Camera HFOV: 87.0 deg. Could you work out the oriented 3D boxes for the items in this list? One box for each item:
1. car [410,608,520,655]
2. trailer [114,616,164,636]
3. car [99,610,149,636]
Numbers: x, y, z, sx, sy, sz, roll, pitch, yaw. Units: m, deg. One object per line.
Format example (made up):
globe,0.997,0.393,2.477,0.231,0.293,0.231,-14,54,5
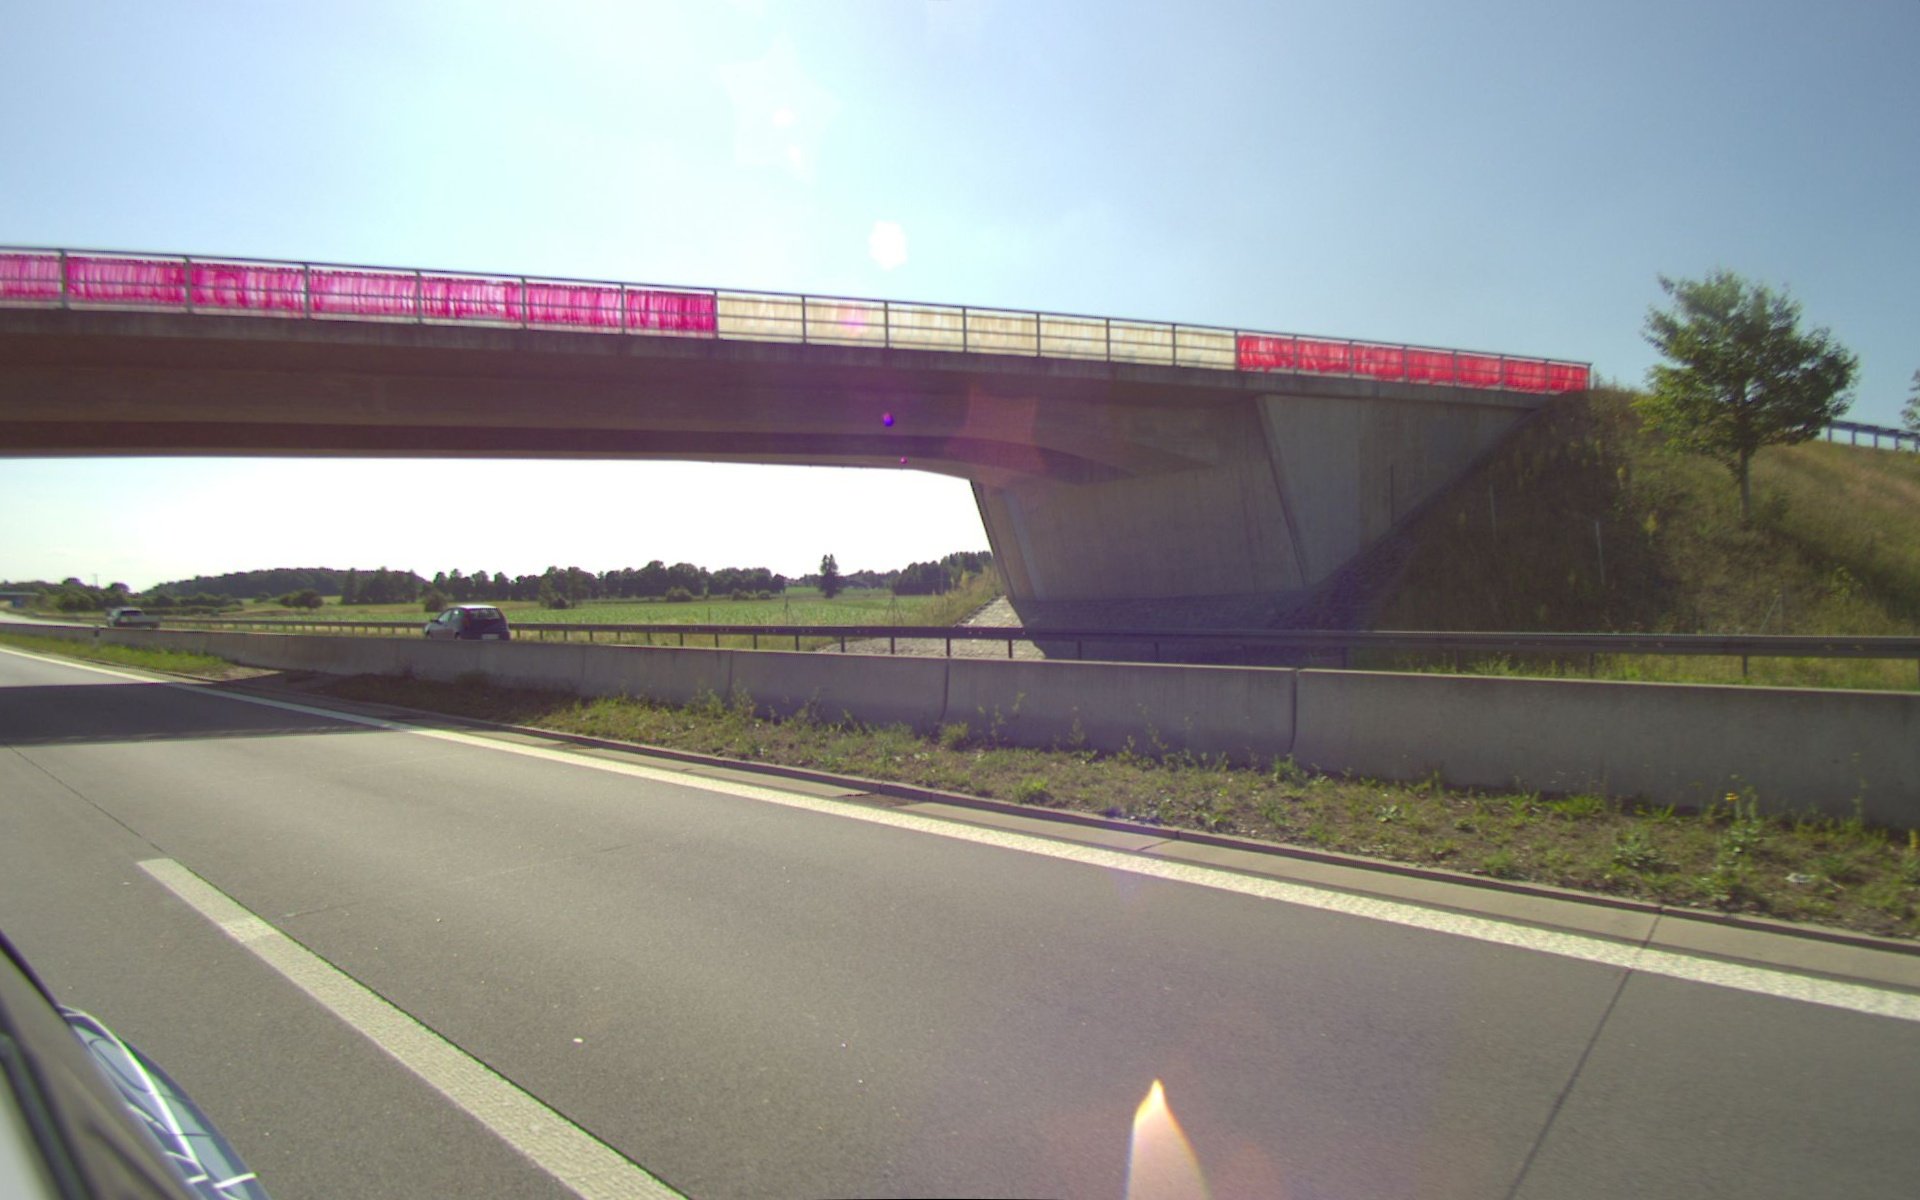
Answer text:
car,-16.760,1.024,34.158,4.193,1.471,1.836,-1,0,41
trailer,-56.068,1.785,69.054,4.260,1.267,1.973,-1,0,42
car,-59.782,1.669,72.331,5.585,1.744,1.972,-1,0,42
